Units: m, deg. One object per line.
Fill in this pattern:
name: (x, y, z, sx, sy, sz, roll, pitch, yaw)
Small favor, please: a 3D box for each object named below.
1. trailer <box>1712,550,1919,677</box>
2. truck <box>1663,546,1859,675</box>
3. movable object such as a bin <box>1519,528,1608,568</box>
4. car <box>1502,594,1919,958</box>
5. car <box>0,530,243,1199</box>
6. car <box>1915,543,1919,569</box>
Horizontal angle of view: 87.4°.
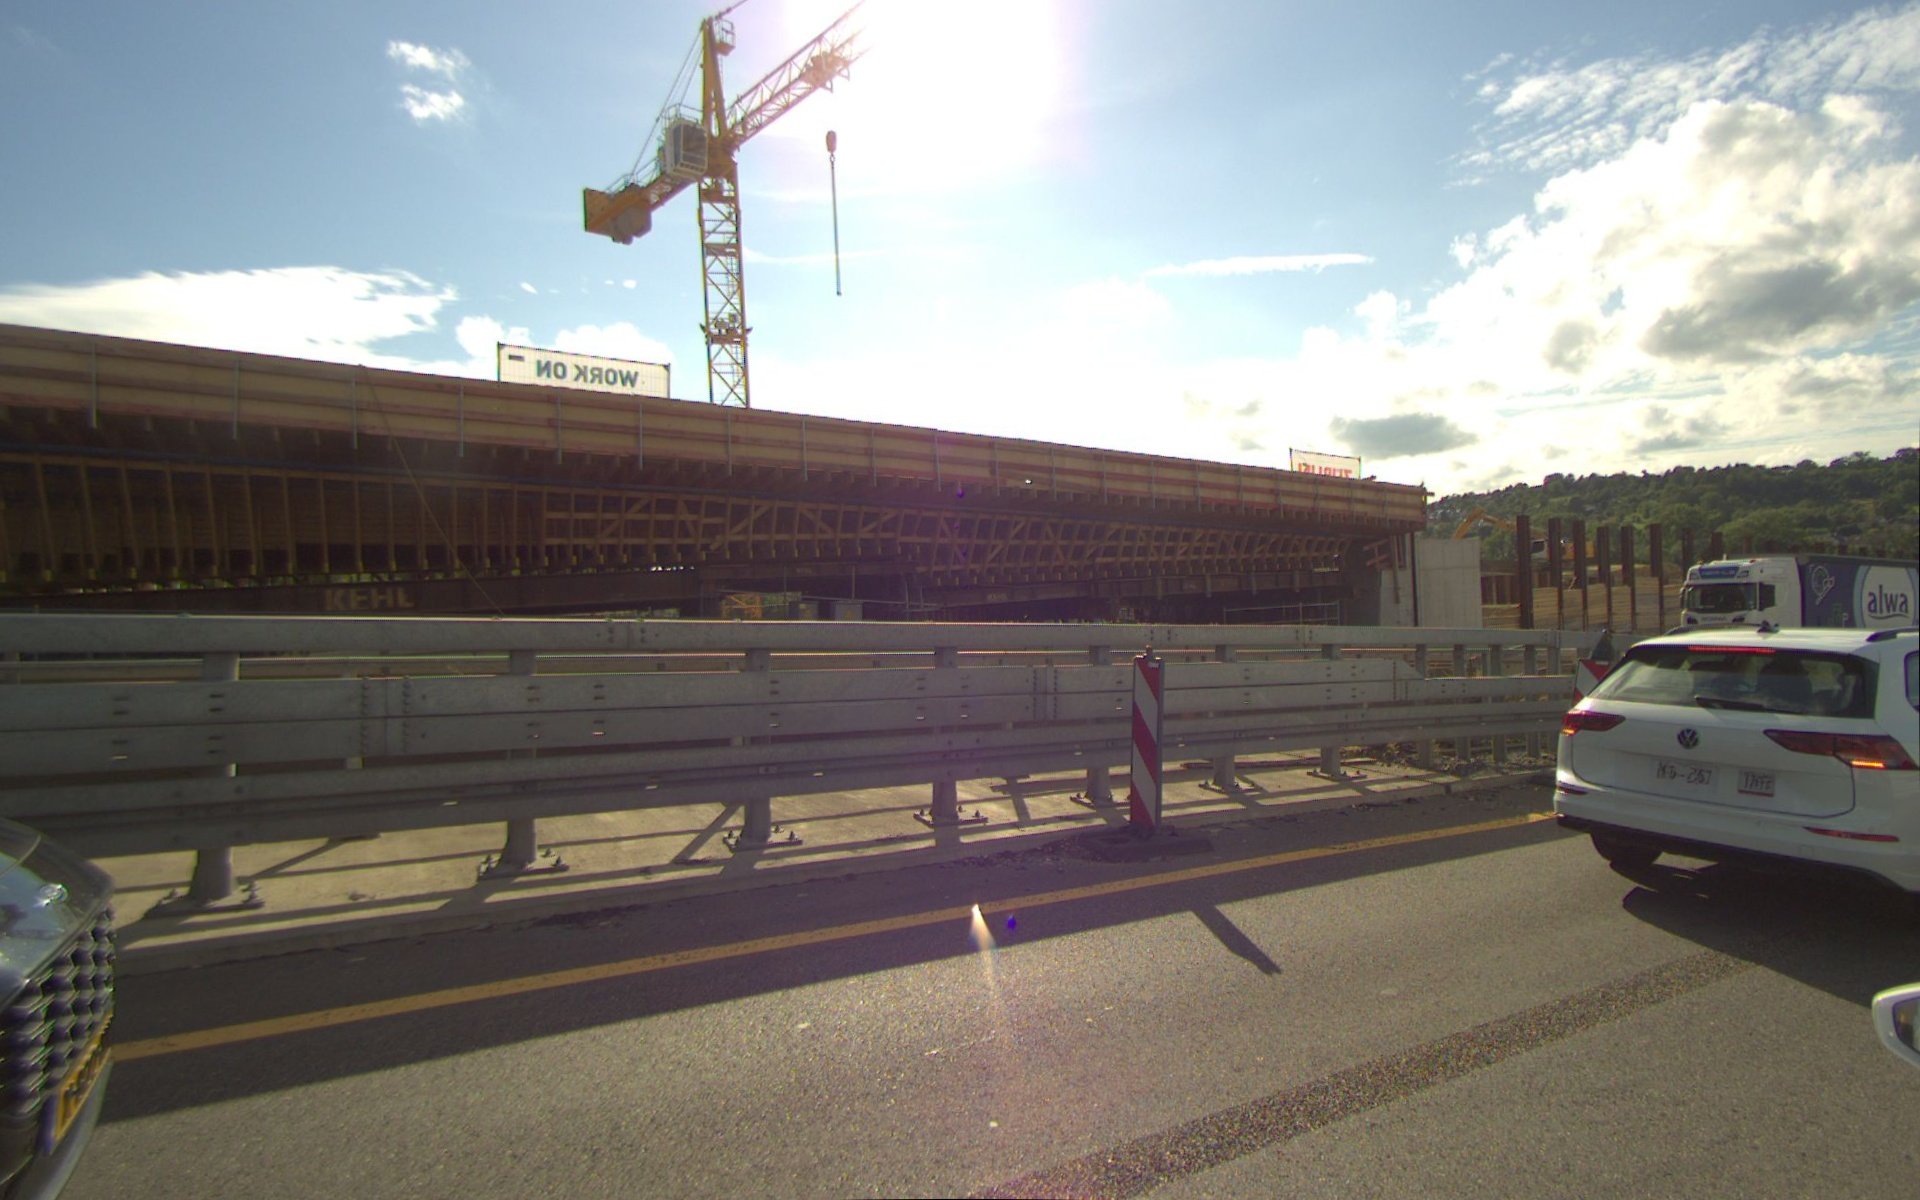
trailer: (34.048, 0.656, 37.611, 13.611, 4.211, 2.682, 2, 0, -22)
truck: (28.067, 0.419, 35.224, 5.882, 4.192, 2.707, 2, 0, -21)
movable object such as a bin: (57.424, -4.901, 95.776, 4.440, 3.314, 5.742, 2, 0, -18)
car: (5.461, 0.844, 6.067, 4.462, 1.510, 1.762, 3, -2, -29)
car: (-3.490, 0.568, 0.977, 4.334, 1.563, 1.790, 3, 1, -31)
car: (87.203, -3.876, 89.196, 5.261, 2.167, 1.985, 2, -6, -31)
